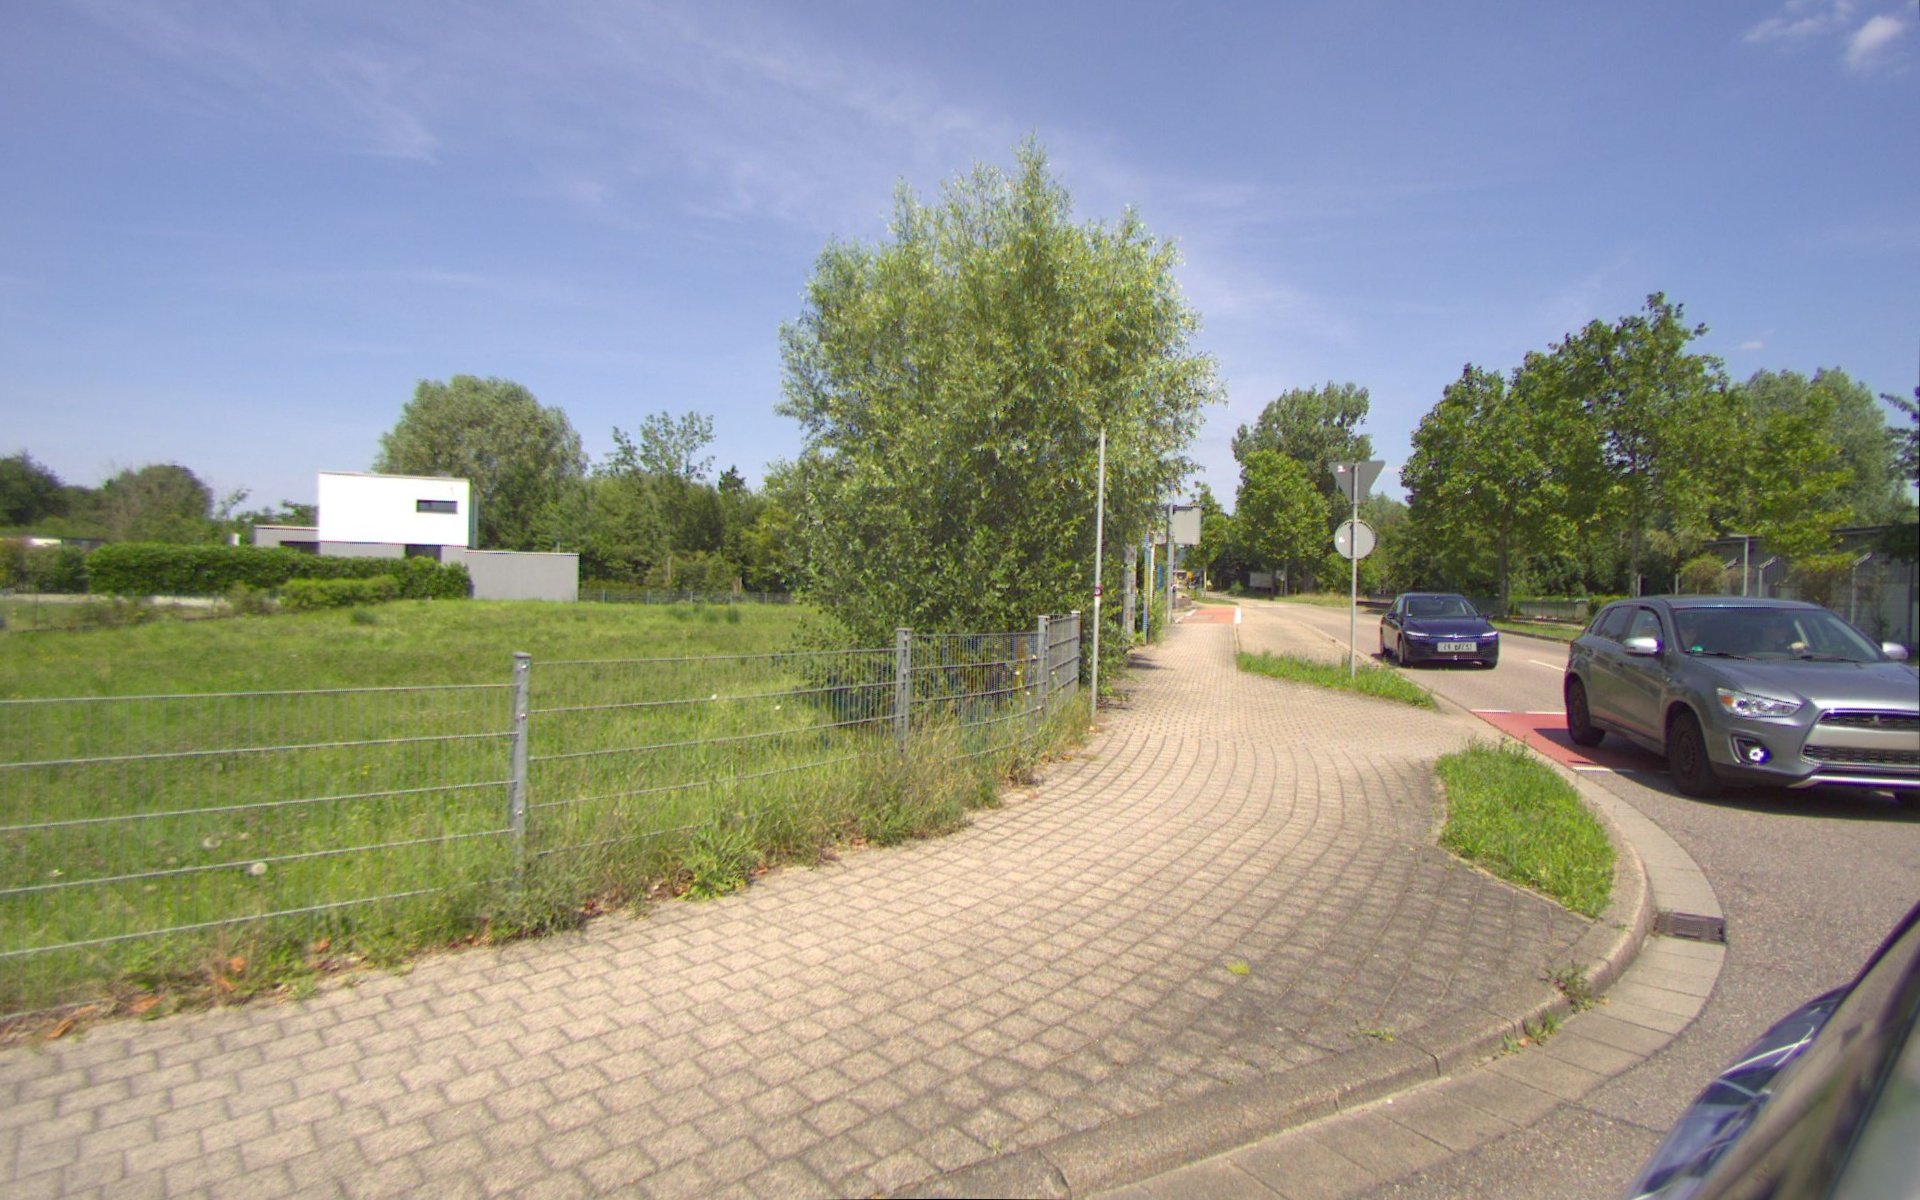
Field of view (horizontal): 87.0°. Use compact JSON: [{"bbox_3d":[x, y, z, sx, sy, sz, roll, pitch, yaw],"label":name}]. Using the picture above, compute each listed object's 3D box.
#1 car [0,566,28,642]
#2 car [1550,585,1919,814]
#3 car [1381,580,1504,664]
[{"bbox_3d":[-28.087,0.133,26.647,4.830,2.039,2.074,-1,1,-12],"label":"car"},{"bbox_3d":[7.076,0.667,9.313,1.726,1.553,4.503,1,1,16],"label":"car"},{"bbox_3d":[9.944,0.382,21.141,1.771,1.559,4.107,1,1,18],"label":"car"}]
